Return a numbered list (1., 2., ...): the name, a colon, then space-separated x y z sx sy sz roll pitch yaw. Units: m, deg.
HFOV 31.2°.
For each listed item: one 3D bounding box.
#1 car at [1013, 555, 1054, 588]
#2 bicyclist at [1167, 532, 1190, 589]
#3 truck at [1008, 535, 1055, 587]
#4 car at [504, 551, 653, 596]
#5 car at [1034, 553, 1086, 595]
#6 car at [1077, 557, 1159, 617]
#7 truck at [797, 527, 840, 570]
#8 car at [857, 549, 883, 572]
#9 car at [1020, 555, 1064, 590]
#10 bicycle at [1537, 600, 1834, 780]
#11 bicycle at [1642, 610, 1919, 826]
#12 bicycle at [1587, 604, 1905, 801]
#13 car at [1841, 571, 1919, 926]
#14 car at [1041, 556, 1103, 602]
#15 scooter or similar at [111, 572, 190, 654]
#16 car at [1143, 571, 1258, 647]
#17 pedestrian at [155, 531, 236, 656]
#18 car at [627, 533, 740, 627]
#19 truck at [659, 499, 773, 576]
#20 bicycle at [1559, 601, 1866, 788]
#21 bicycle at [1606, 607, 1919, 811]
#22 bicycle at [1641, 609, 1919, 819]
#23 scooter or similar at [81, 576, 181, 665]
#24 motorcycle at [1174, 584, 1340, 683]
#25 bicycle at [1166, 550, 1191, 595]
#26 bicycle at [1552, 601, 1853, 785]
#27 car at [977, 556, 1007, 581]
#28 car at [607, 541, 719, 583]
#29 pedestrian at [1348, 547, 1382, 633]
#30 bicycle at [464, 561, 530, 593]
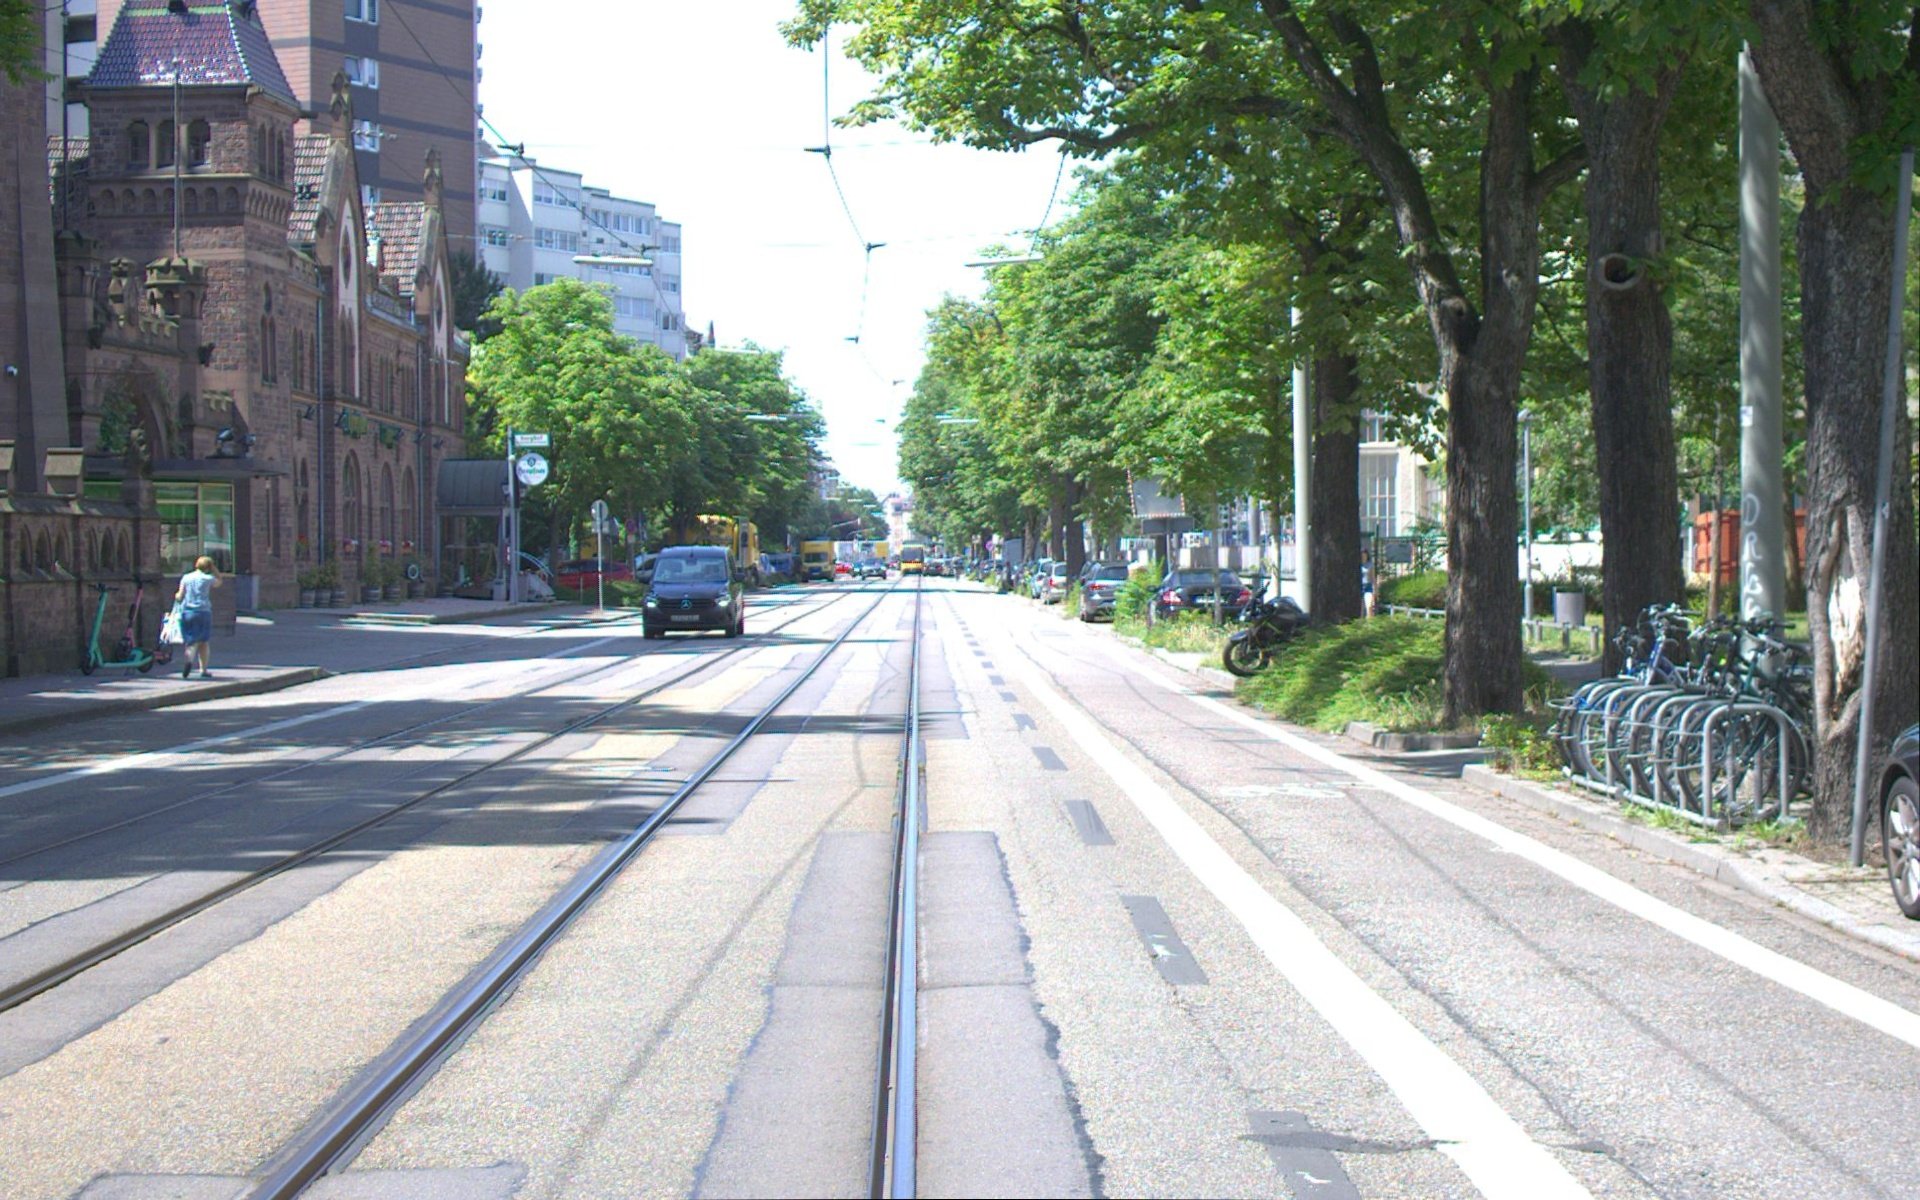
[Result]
1. car: 3.398 -1.327 158.014 1.824 1.466 4.400 -1 1 2
2. bicyclist: 6.359 -1.161 100.154 0.580 1.642 0.599 -2 1 0
3. truck: 3.489 -1.903 168.533 2.014 2.480 5.956 -1 1 -1
4. car: -13.272 -0.925 119.690 4.764 1.561 2.002 0 1 -28
5. car: 3.689 -0.988 127.321 1.671 1.512 4.202 -1 1 -1
6. car: 3.827 -0.345 84.098 1.671 1.403 4.749 -1 1 -1
7. truck: -9.697 -3.532 236.234 2.360 2.843 7.378 -1 1 1
8. car: -6.725 -2.944 257.589 1.831 1.675 4.185 -1 1 0
9. car: 3.506 -1.194 147.020 1.824 1.466 4.486 -1 1 1
10. bicycle: 4.698 0.576 22.286 1.807 1.107 0.449 -1 1 -3
11. bicycle: 4.668 0.627 18.653 1.807 1.107 0.514 -1 1 -4
12. bicycle: 4.704 0.601 20.582 1.807 1.107 0.490 -2 1 -14
13. car: 4.842 0.624 13.069 1.676 1.462 4.635 -1 1 -1
14. car: 3.709 -0.707 114.437 1.671 1.494 4.366 -1 1 -3
15. scooter or similar: -11.201 0.173 47.603 0.329 1.123 1.221 1 1 28
16. car: 4.282 0.144 61.613 1.751 1.266 3.833 1 1 0
17. pedestrian: -9.946 -0.092 44.746 0.799 1.583 0.919 2 1 -1
18. car: -5.436 -0.414 67.974 1.904 1.782 4.256 -1 1 -1
19. truck: -12.818 -3.253 181.662 2.717 3.828 10.957 1 0 14
20. bicycle: 4.692 0.583 21.455 1.807 1.107 0.395 -1 1 -3
21. bicycle: 4.714 0.620 19.925 1.807 1.107 0.533 -1 1 -9
22. bicycle: 4.793 0.626 19.306 1.807 1.107 0.536 -1 1 -9
23. scooter or similar: -10.637 0.268 44.150 0.348 1.123 1.222 1 0 43
24. motorcycle: 3.685 0.414 42.794 2.060 1.208 0.611 -1 -1 39
25. bicycle: 6.360 -0.808 100.172 0.555 1.261 1.774 -3 1 0
26. bicycle: 4.715 0.583 21.855 1.807 1.107 0.395 -1 1 -3
27. car: 2.051 -2.029 222.033 1.639 1.480 3.873 -1 0 -3
28. car: -13.157 -1.699 152.434 4.534 1.785 1.901 0 1 -32
29. pedestrian: 7.493 -0.187 63.604 0.513 1.568 0.544 -2 1 0
30. bicycle: -14.986 -0.739 111.193 1.994 0.888 0.598 4 0 -17
